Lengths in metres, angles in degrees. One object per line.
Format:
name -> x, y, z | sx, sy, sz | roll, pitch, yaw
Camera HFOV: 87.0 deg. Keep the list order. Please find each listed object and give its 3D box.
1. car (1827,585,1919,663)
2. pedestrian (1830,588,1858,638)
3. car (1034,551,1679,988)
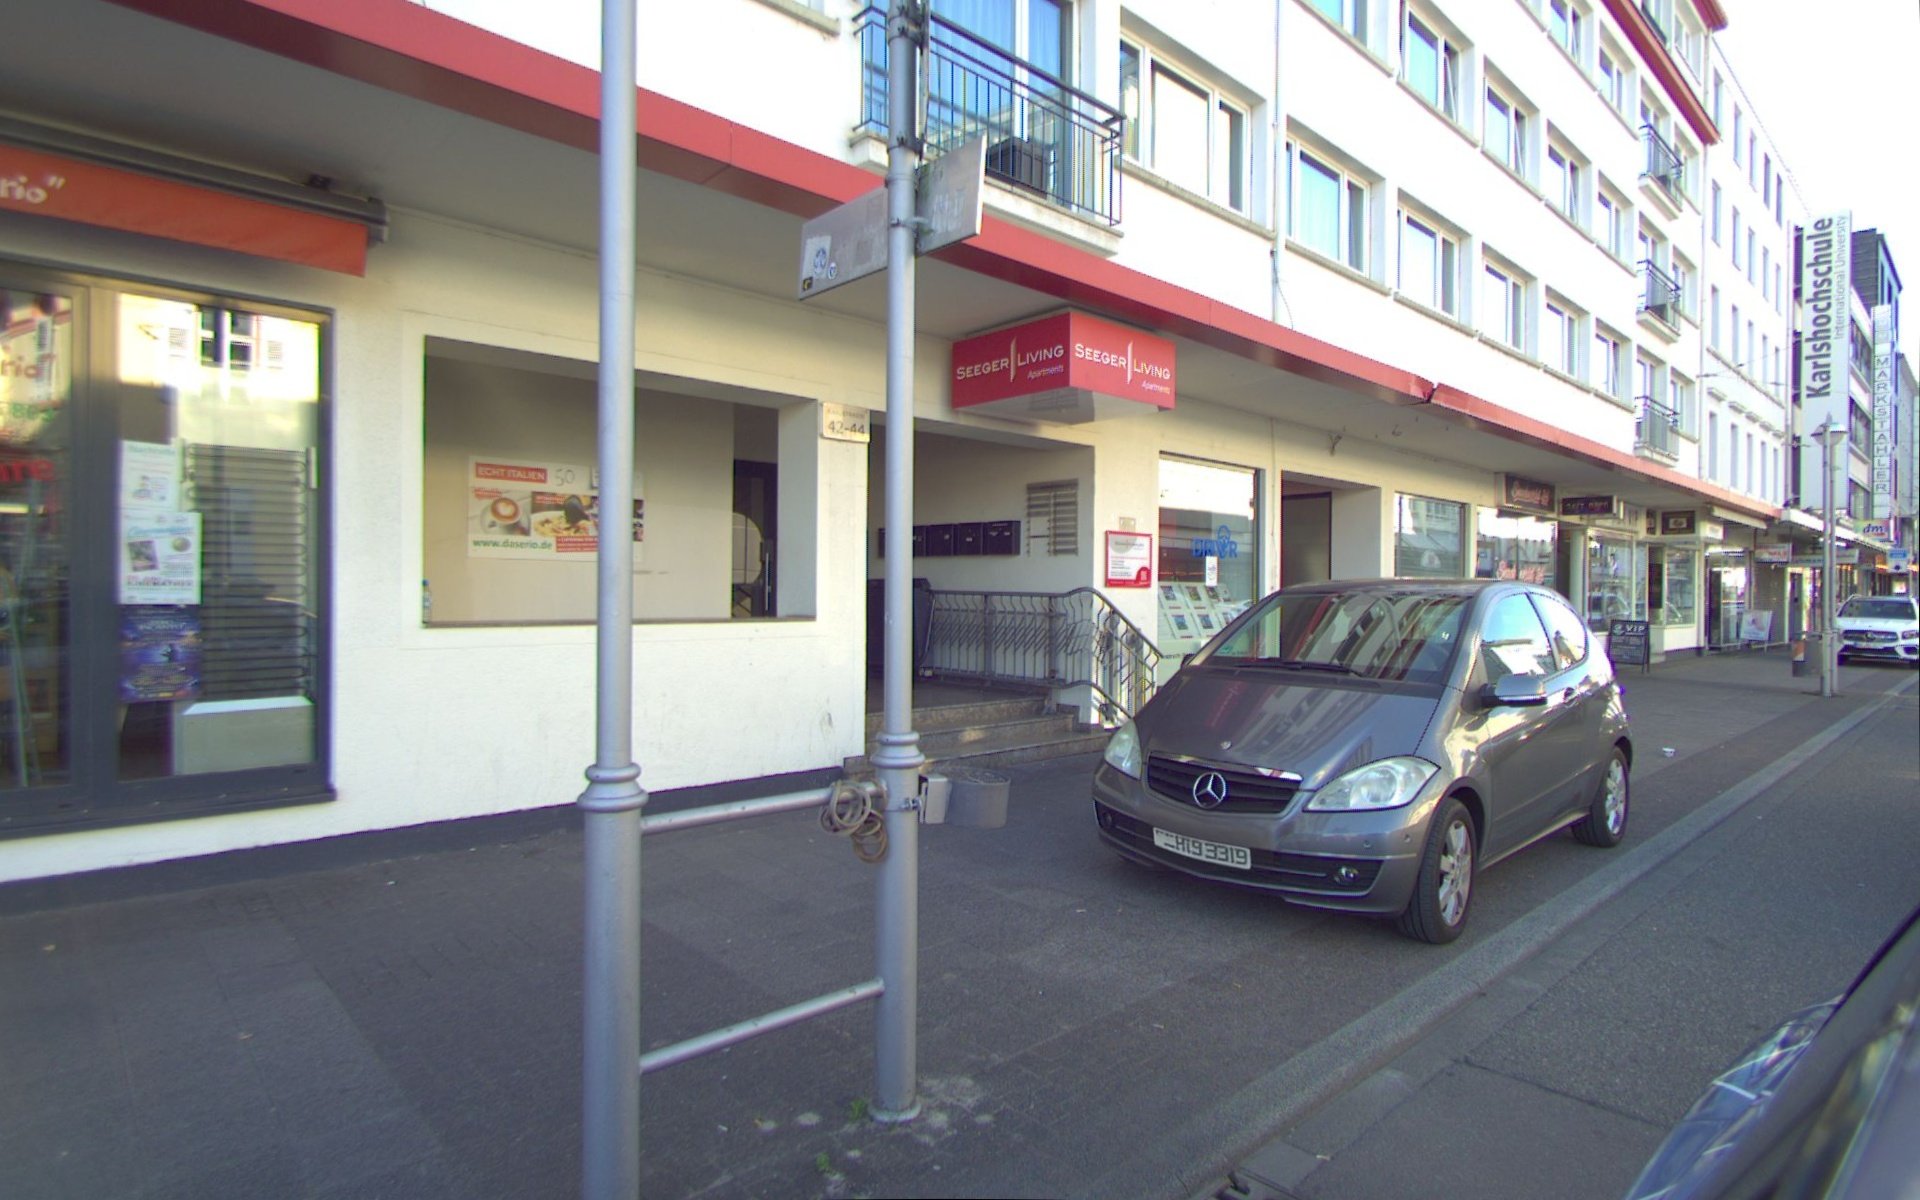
car -> 22.190, 0.498, 24.114 | 4.092, 1.684, 1.781 | -1, 2, -42
pedestrian -> 32.845, 0.468, 37.592 | 0.794, 1.840, 0.704 | 0, 0, -44
car -> 2.407, 0.566, 5.639 | 3.893, 1.588, 1.780 | -1, 2, -42
